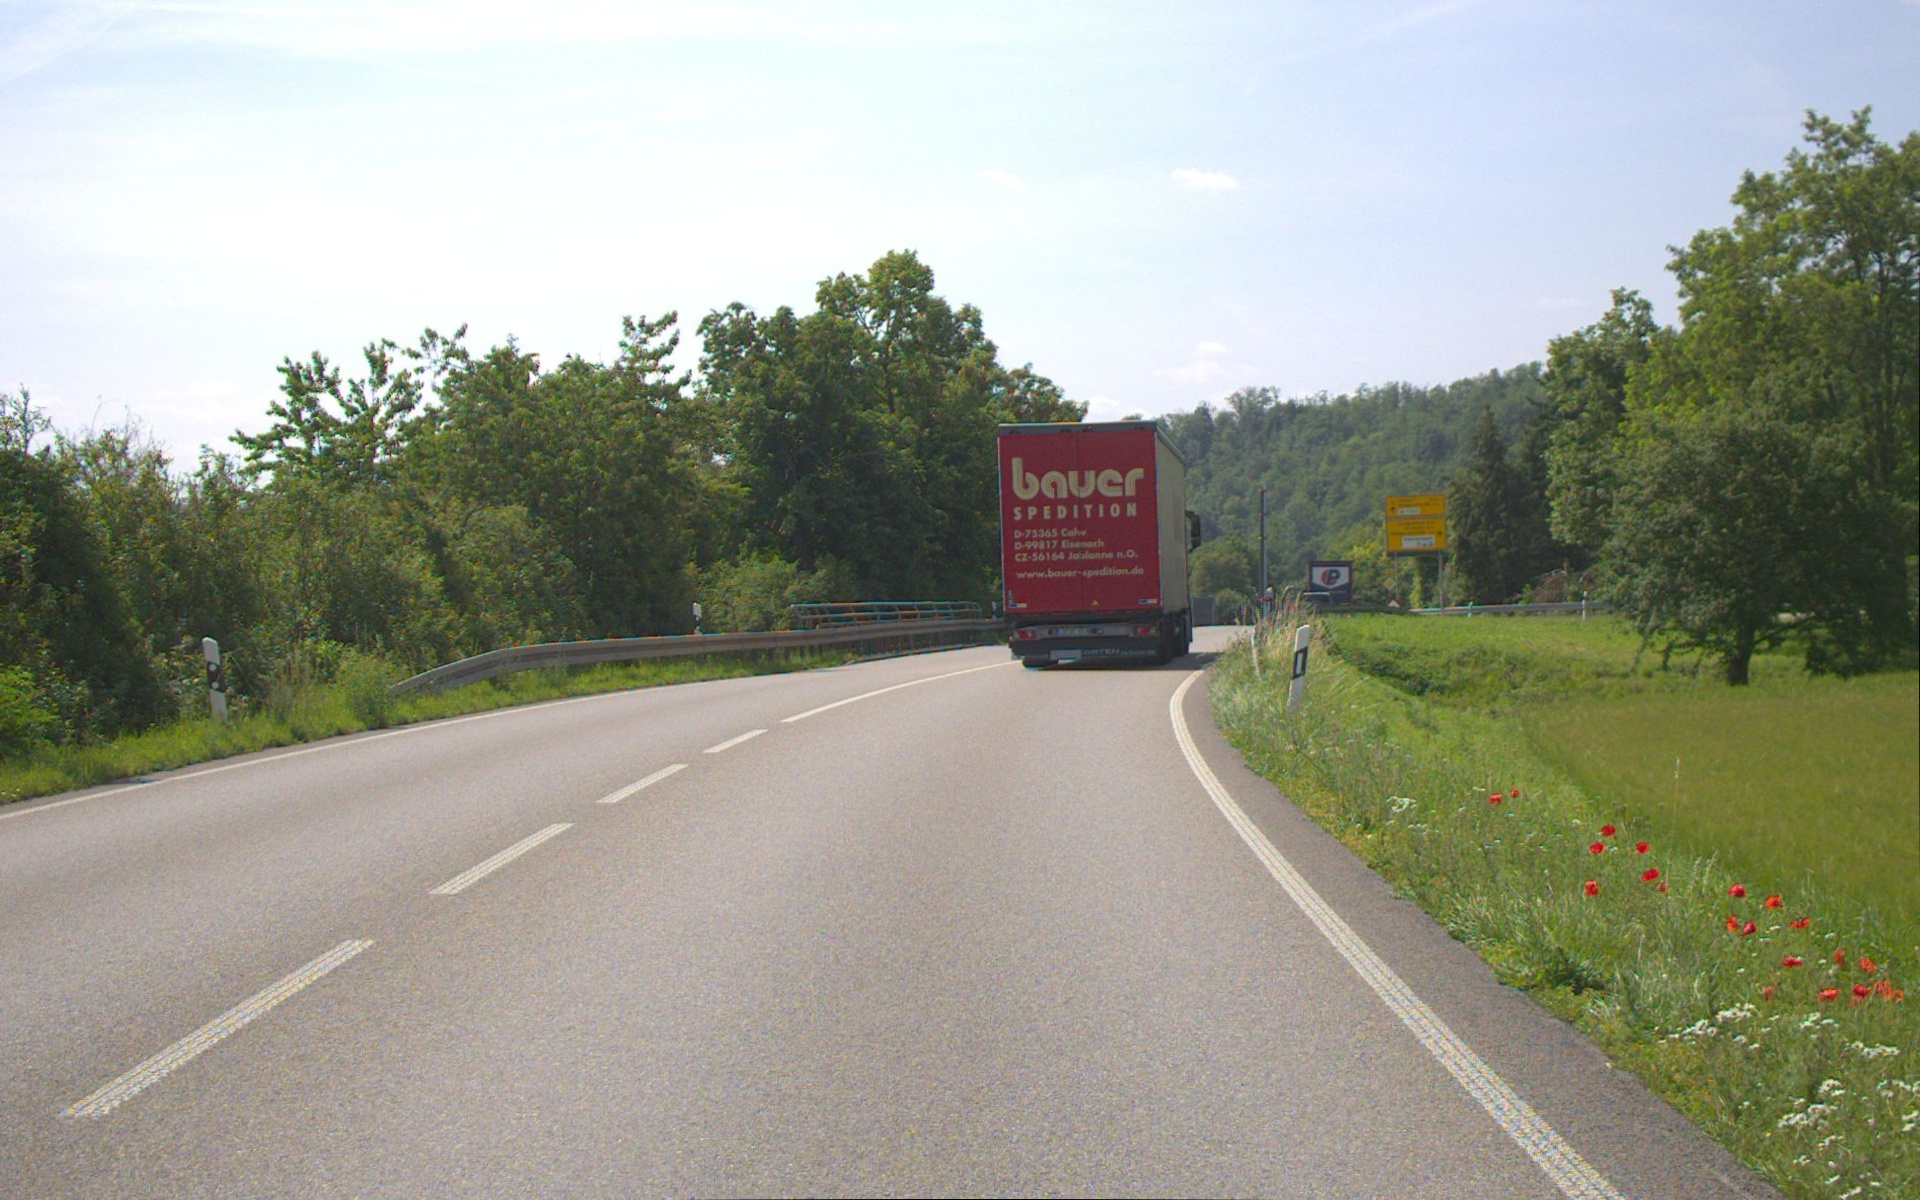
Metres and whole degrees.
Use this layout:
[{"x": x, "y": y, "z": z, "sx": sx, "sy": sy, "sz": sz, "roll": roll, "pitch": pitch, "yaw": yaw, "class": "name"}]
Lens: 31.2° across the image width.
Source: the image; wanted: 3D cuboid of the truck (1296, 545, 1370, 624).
[{"x": 22.300, "y": -0.854, "z": 205.105, "sx": 3.906, "sy": 4.355, "sz": 13.286, "roll": 1, "pitch": -1, "yaw": 8, "class": "truck"}]

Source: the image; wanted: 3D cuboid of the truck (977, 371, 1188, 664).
[{"x": 2.381, "y": -1.361, "z": 61.203, "sx": 3.173, "sy": 4.609, "sz": 13.541, "roll": -1, "pitch": 0, "yaw": 4, "class": "truck"}]

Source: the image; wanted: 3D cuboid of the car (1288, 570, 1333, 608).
[{"x": 17.874, "y": -0.545, "z": 175.196, "sx": 1.994, "sy": 1.804, "sz": 3.998, "roll": 1, "pitch": -1, "yaw": 9, "class": "car"}]
